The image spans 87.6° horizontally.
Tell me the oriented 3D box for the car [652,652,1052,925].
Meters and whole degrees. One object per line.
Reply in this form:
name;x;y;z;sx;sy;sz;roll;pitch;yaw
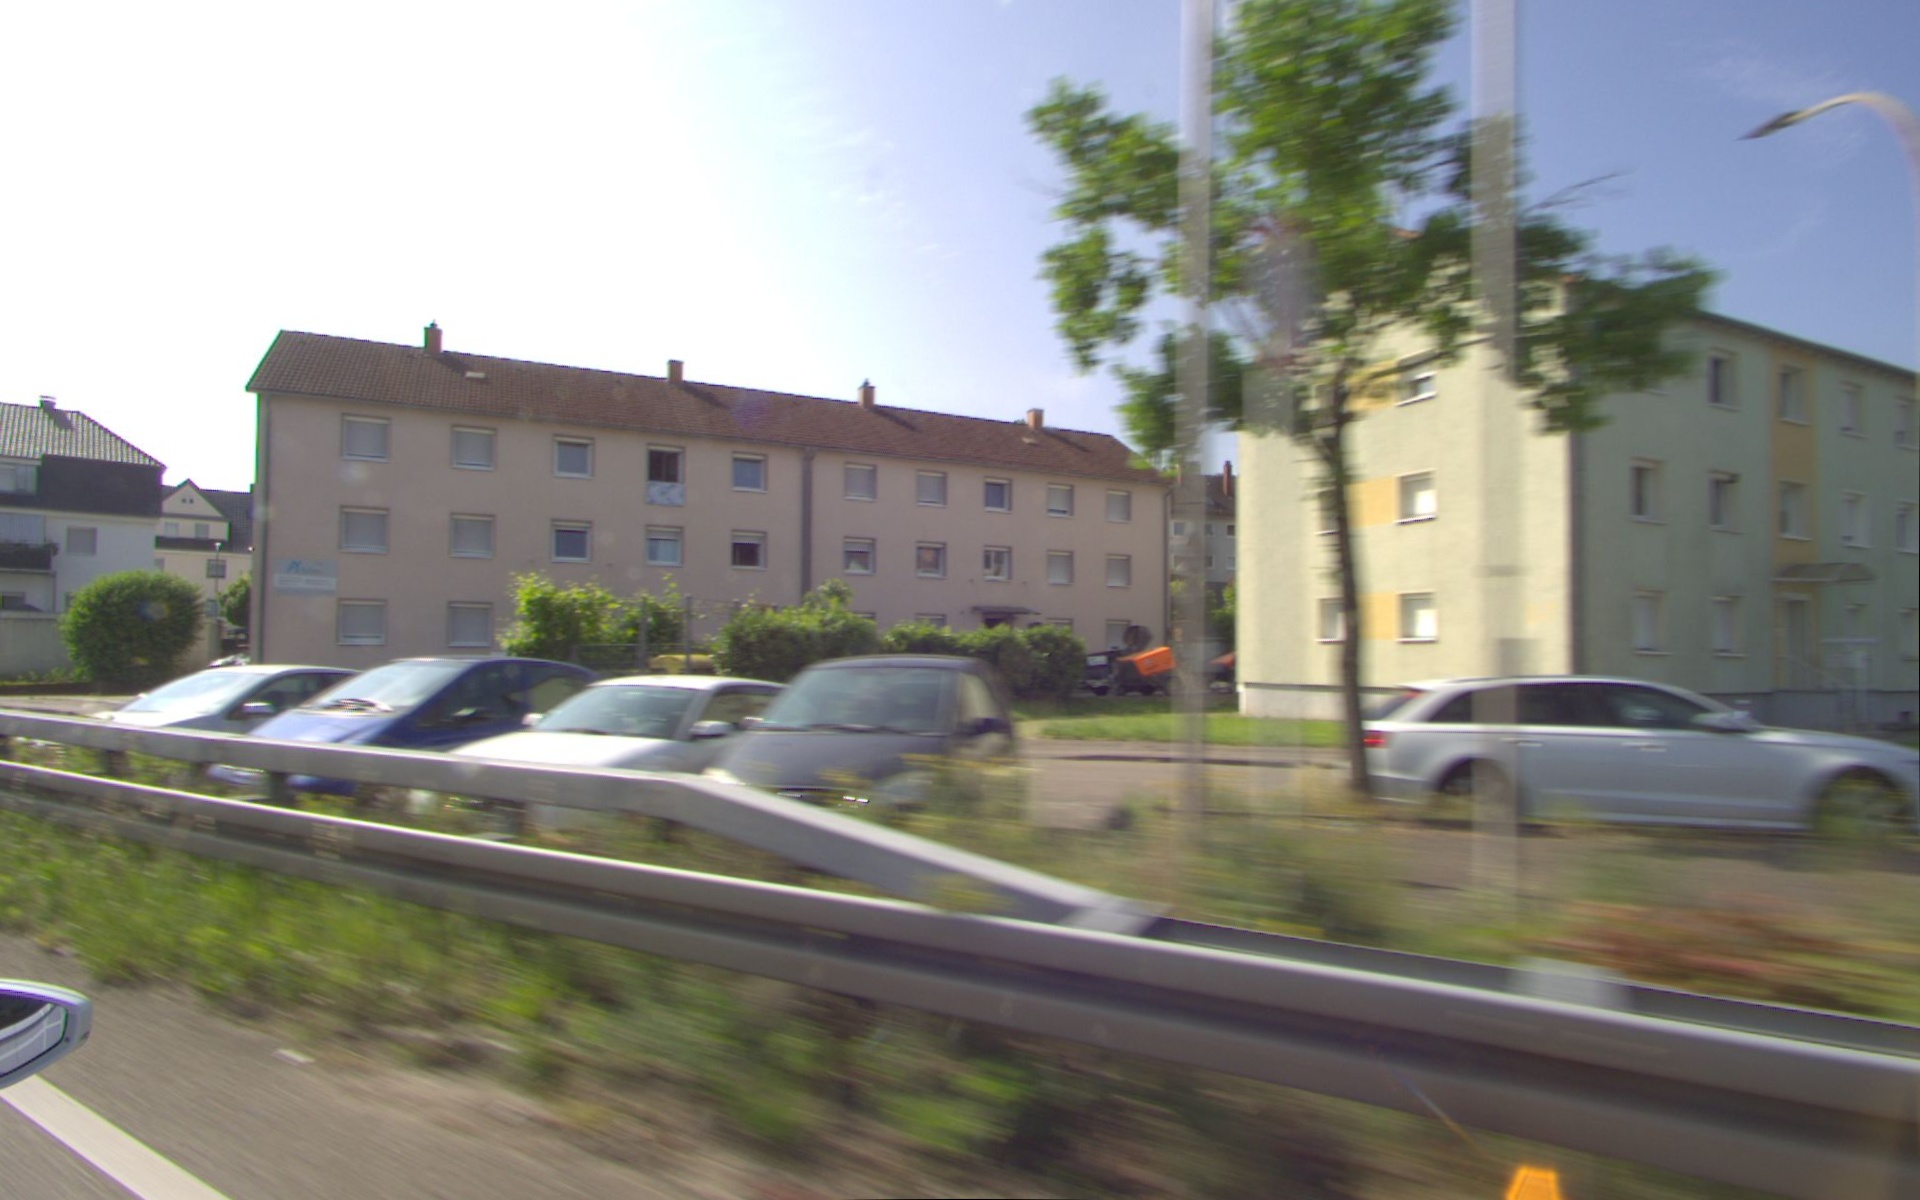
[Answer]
car;-0.503;1.167;7.817;1.697;1.470;4.067;-1;-2;16

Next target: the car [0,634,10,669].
car;-40.613;2.045;39.338;4.551;1.366;1.743;1;0;-35

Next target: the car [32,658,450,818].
car;-7.344;1.359;10.610;1.522;1.392;3.272;-1;-5;20

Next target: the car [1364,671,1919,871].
car;6.214;1.461;9.355;4.358;1.438;1.787;0;-2;17

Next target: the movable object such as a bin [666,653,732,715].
movable object such as a bin;-6.233;1.989;23.949;1.077;1.422;1.274;0;-2;10

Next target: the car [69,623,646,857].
car;-5.014;1.188;9.170;1.885;1.590;4.246;-1;-6;19

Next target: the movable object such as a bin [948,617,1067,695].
movable object such as a bin;1.492;1.824;31.967;3.470;2.385;1.585;1;-5;-16

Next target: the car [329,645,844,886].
car;-2.698;1.227;8.320;1.735;1.466;3.997;-1;-6;22

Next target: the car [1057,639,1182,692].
car;5.568;2.299;35.060;3.935;1.759;1.813;1;-5;-22
